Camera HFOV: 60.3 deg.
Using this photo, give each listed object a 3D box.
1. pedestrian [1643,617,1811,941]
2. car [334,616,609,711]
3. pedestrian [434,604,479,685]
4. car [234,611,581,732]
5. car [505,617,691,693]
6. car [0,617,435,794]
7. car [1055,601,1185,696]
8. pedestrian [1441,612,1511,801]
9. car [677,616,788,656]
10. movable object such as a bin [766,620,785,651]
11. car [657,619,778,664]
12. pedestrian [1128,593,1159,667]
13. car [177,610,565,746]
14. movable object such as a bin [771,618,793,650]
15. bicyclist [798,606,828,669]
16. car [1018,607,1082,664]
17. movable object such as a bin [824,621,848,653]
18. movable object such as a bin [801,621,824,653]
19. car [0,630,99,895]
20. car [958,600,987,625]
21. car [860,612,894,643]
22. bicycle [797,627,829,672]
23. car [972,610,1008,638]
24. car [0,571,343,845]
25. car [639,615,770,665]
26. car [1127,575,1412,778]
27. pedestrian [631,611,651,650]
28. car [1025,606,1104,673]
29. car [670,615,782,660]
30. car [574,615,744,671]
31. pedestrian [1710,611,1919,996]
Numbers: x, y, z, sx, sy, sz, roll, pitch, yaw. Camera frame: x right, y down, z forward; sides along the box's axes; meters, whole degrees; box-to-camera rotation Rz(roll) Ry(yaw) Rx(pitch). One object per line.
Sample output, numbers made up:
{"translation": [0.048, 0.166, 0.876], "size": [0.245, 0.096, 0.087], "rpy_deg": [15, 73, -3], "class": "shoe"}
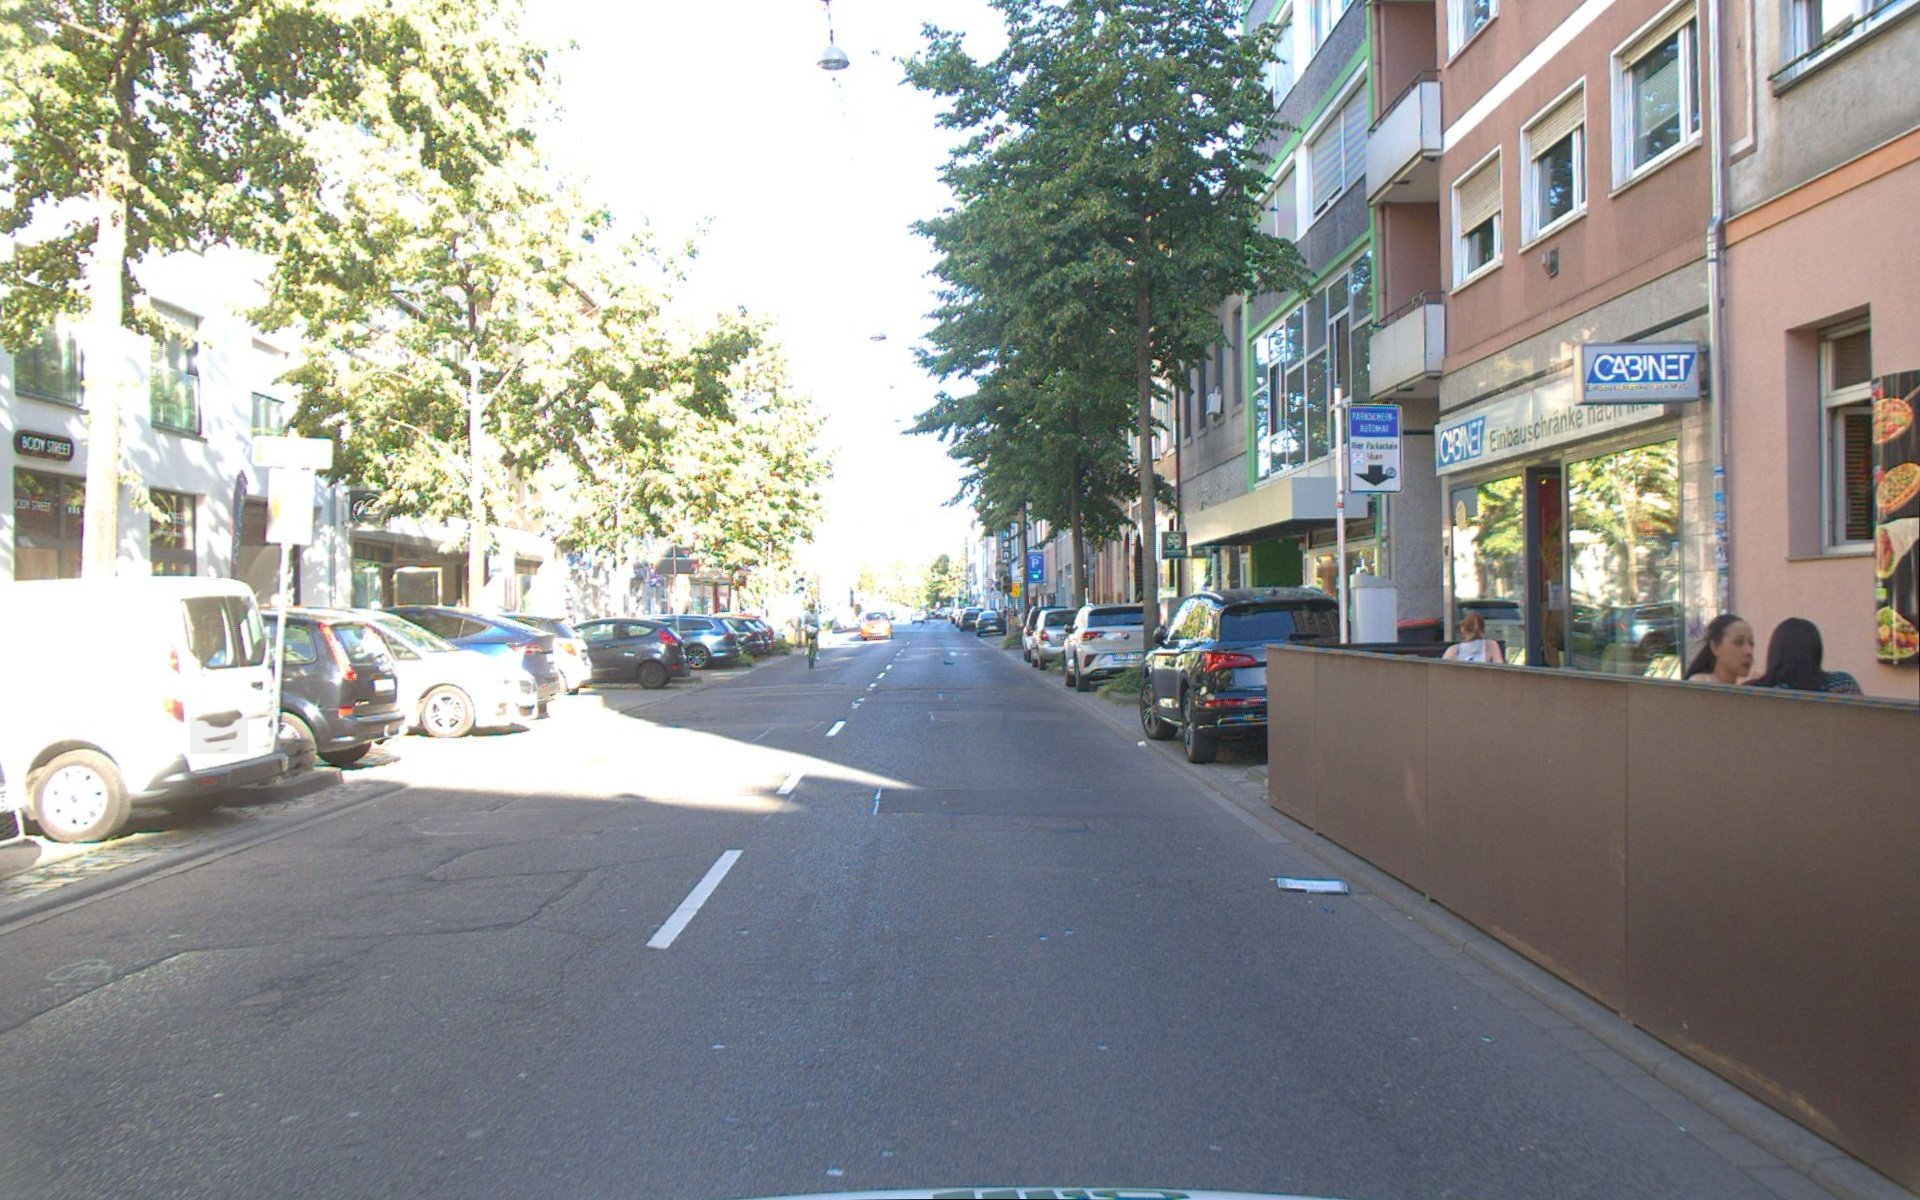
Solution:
{"translation": [3.420, 0.770, 7.407], "size": [0.463, 1.386, 0.594], "rpy_deg": [0, -1, 0], "class": "pedestrian"}
{"translation": [-8.267, 1.054, 28.329], "size": [4.162, 1.484, 1.978], "rpy_deg": [-1, 0, -5], "class": "car"}
{"translation": [-11.513, 1.013, 37.842], "size": [0.684, 1.829, 0.746], "rpy_deg": [-1, -1, 10], "class": "pedestrian"}
{"translation": [-7.799, 0.987, 23.668], "size": [4.277, 1.598, 1.980], "rpy_deg": [-1, 0, -1], "class": "car"}
{"translation": [-7.606, 1.139, 35.035], "size": [3.709, 1.484, 1.777], "rpy_deg": [-1, 0, -9], "class": "car"}
{"translation": [-7.329, 0.992, 16.302], "size": [3.722, 1.585, 1.791], "rpy_deg": [-1, 0, -1], "class": "car"}
{"translation": [2.928, 0.865, 31.028], "size": [1.845, 1.553, 4.232], "rpy_deg": [-3, 0, -2], "class": "car"}
{"translation": [3.788, 0.764, 12.142], "size": [0.463, 1.354, 0.483], "rpy_deg": [-1, -1, 18], "class": "pedestrian"}
{"translation": [-8.918, 1.413, 65.073], "size": [4.116, 1.494, 1.740], "rpy_deg": [0, 0, 1], "class": "car"}
{"translation": [-8.101, 1.558, 72.724], "size": [0.739, 1.364, 0.805], "rpy_deg": [-1, -1, -2], "class": "movable object such as a bin"}
{"translation": [-8.033, 1.369, 55.009], "size": [3.762, 1.454, 1.789], "rpy_deg": [0, 0, 0], "class": "car"}
{"translation": [4.616, 0.753, 41.627], "size": [0.610, 1.796, 0.771], "rpy_deg": [-3, -1, 0], "class": "pedestrian"}
{"translation": [-7.476, 0.964, 21.323], "size": [4.277, 1.598, 1.946], "rpy_deg": [-1, 0, -1], "class": "car"}
{"translation": [-8.584, 1.628, 79.803], "size": [0.944, 1.497, 1.143], "rpy_deg": [-1, -1, -2], "class": "movable object such as a bin"}
{"translation": [-4.119, 1.034, 46.397], "size": [0.710, 1.730, 1.282], "rpy_deg": [-1, 0, -1], "class": "bicyclist"}
{"translation": [2.670, 1.033, 49.340], "size": [1.581, 1.555, 3.059], "rpy_deg": [-3, -1, -2], "class": "car"}
{"translation": [-5.982, 1.789, 79.845], "size": [1.021, 1.497, 1.452], "rpy_deg": [-2, -1, -2], "class": "movable object such as a bin"}
{"translation": [-7.113, 1.764, 79.684], "size": [1.021, 1.497, 1.143], "rpy_deg": [-2, -1, -2], "class": "movable object such as a bin"}
{"translation": [-7.402, 0.937, 9.508], "size": [3.898, 1.490, 1.886], "rpy_deg": [0, 0, -1], "class": "car"}
{"translation": [0.877, 0.911, 118.751], "size": [1.933, 1.755, 4.823], "rpy_deg": [0, 0, -1], "class": "car"}
{"translation": [-4.473, 1.498, 89.741], "size": [1.624, 1.562, 3.759], "rpy_deg": [-3, 0, -1], "class": "car"}
{"translation": [-4.121, 1.378, 46.546], "size": [0.710, 1.189, 2.196], "rpy_deg": [-1, 0, 0], "class": "bicycle"}
{"translation": [1.765, 1.431, 99.185], "size": [1.879, 1.504, 4.963], "rpy_deg": [-5, 0, -1], "class": "car"}
{"translation": [-6.983, 0.742, 12.291], "size": [4.022, 1.868, 2.038], "rpy_deg": [0, 0, -1], "class": "car"}
{"translation": [-8.035, 1.244, 52.303], "size": [3.838, 1.511, 1.771], "rpy_deg": [0, 0, 0], "class": "car"}
{"translation": [3.079, 0.713, 17.501], "size": [1.954, 1.719, 4.515], "rpy_deg": [-4, 0, -2], "class": "car"}
{"translation": [-11.736, 1.127, 60.859], "size": [0.497, 1.433, 0.825], "rpy_deg": [0, 0, 3], "class": "pedestrian"}
{"translation": [2.705, 1.007, 43.536], "size": [1.581, 1.555, 4.233], "rpy_deg": [-4, 0, -2], "class": "car"}
{"translation": [-8.129, 1.291, 57.603], "size": [3.672, 1.494, 1.739], "rpy_deg": [0, 0, -2], "class": "car"}
{"translation": [-8.295, 1.170, 45.850], "size": [4.403, 1.484, 1.789], "rpy_deg": [0, -1, -3], "class": "car"}
{"translation": [3.299, 0.748, 6.366], "size": [0.541, 1.403, 0.594], "rpy_deg": [0, -1, 0], "class": "pedestrian"}
